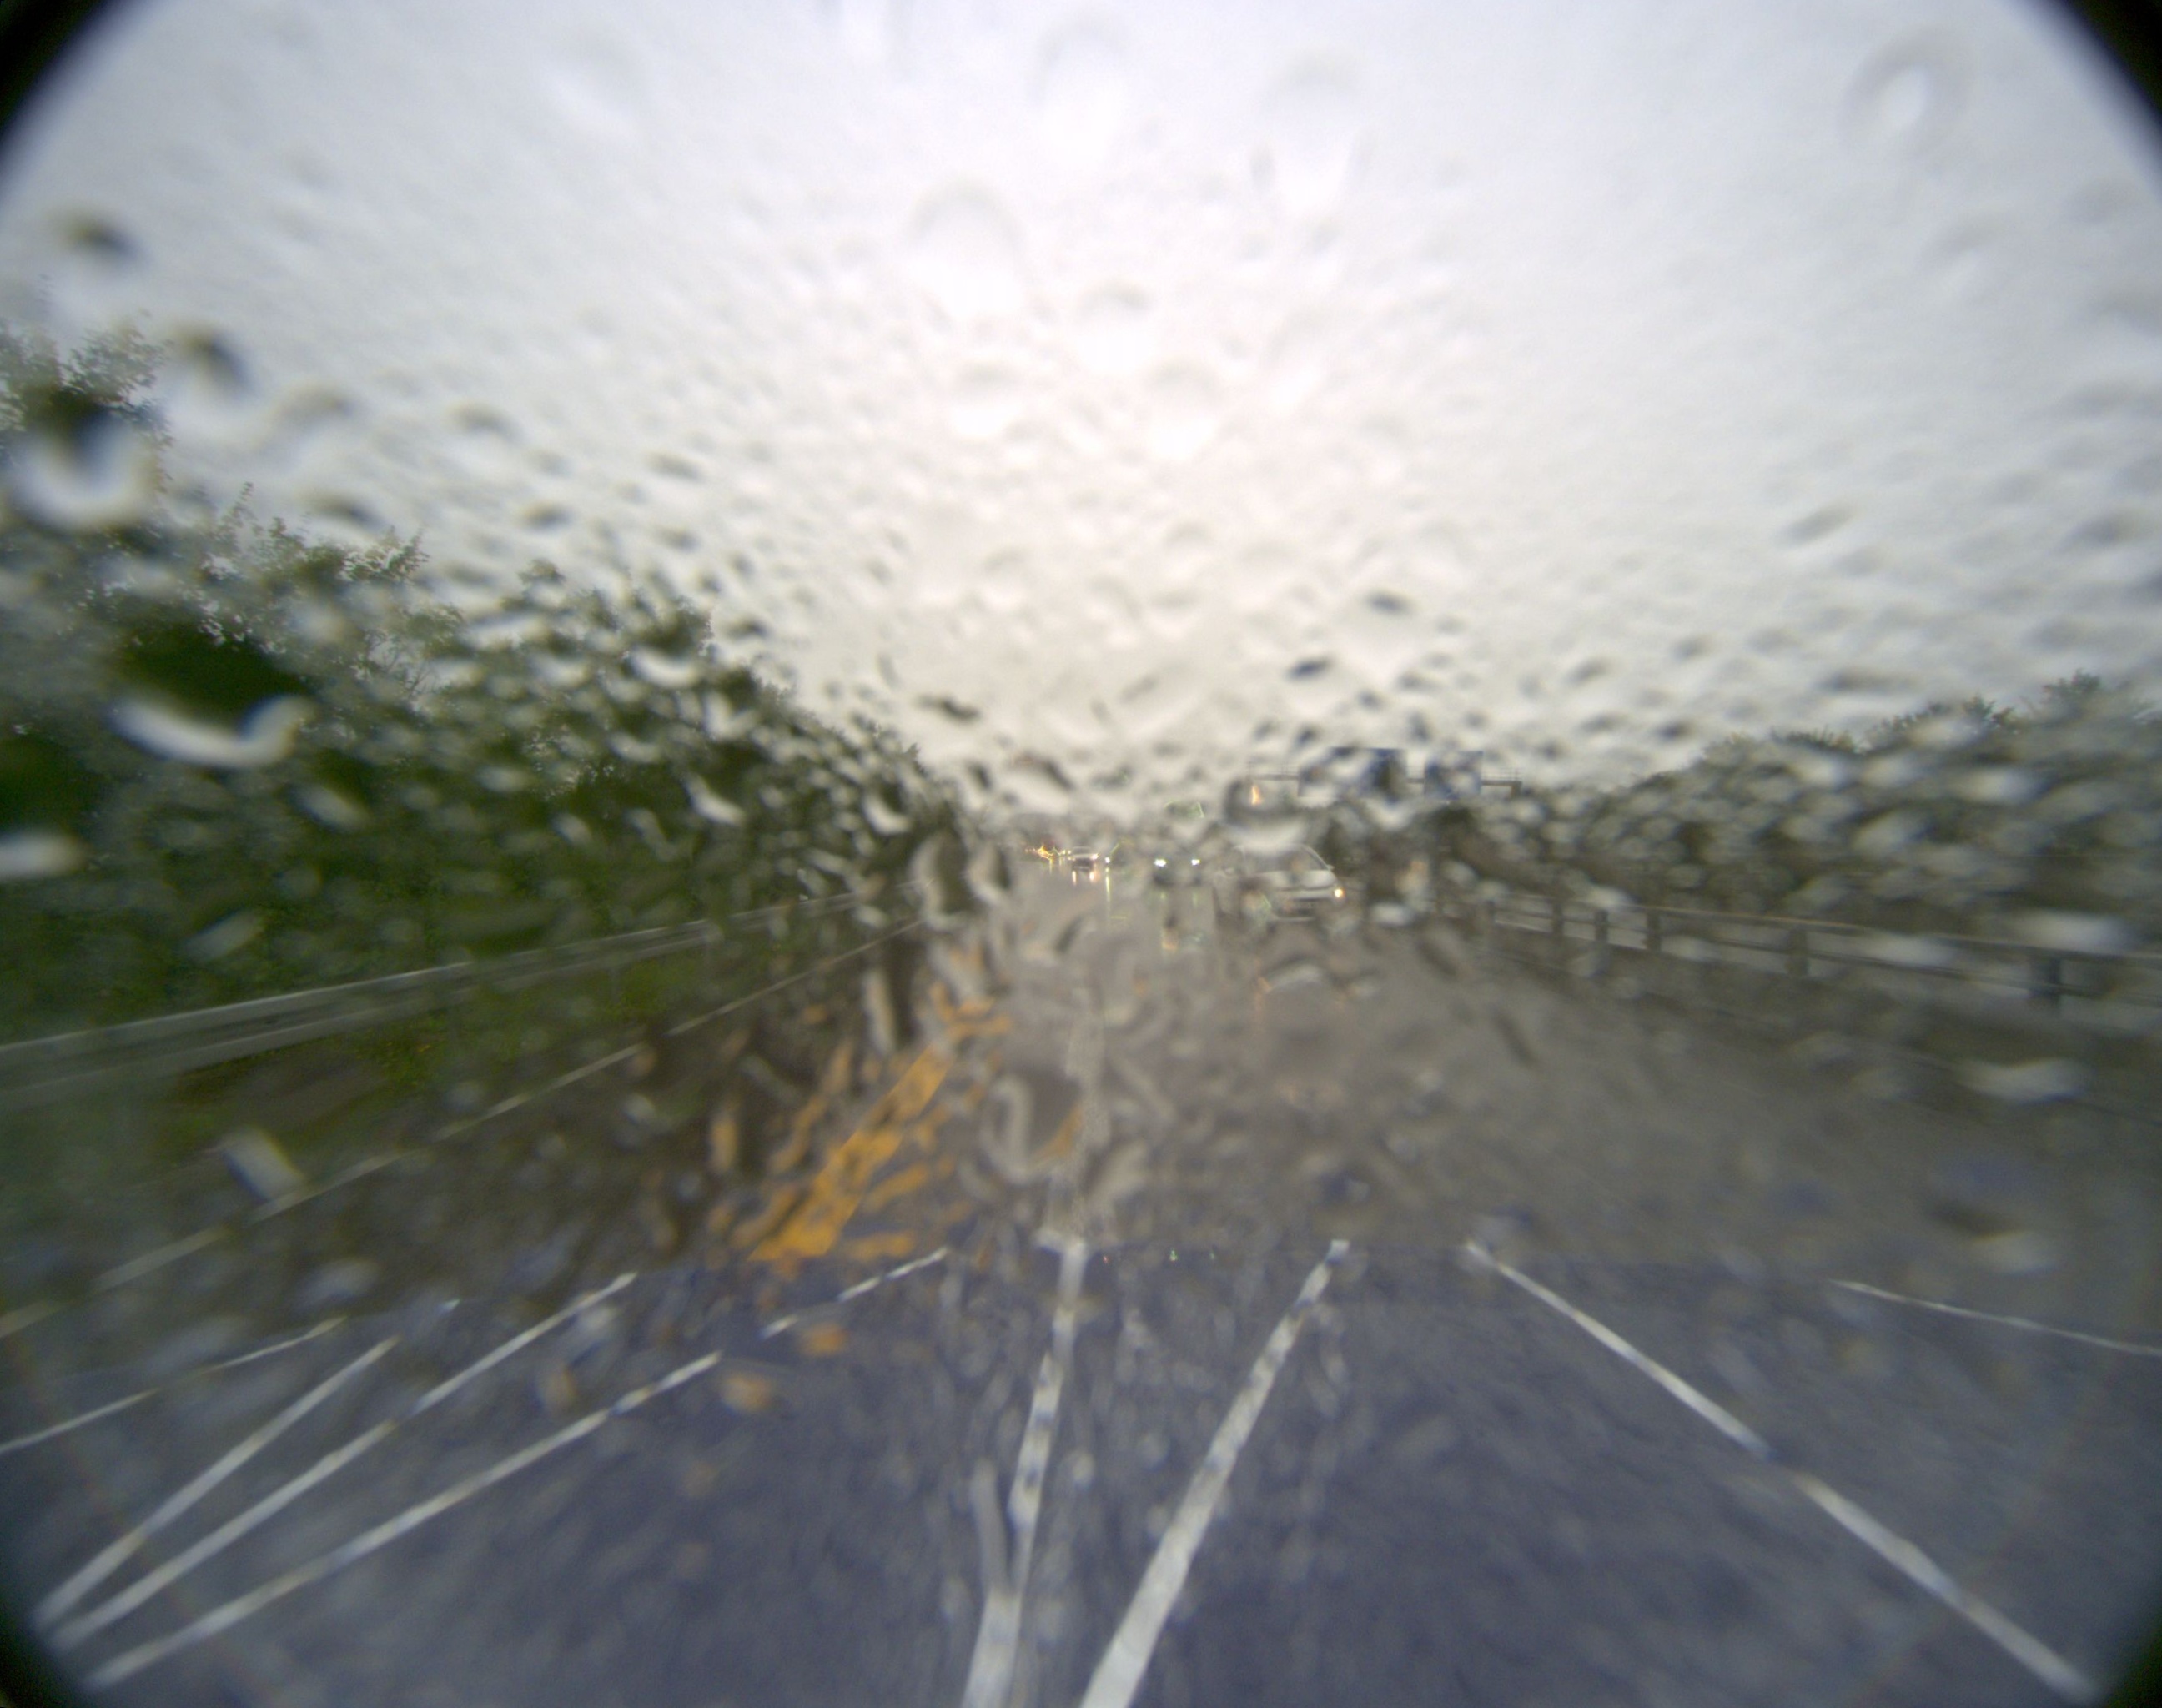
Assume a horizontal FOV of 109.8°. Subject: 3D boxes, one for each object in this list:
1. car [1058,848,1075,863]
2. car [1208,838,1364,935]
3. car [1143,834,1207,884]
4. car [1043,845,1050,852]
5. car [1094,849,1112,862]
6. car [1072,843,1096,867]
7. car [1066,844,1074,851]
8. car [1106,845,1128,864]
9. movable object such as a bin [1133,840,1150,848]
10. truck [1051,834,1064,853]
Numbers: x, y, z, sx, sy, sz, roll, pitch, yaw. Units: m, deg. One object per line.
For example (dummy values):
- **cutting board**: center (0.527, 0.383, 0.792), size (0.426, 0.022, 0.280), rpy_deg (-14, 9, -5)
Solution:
- **car**: center (-1.729, 0.162, 90.352), size (1.882, 1.657, 3.998), rpy_deg (-2, 1, -3)
- **car**: center (3.796, 0.562, 14.925), size (1.978, 1.586, 4.310), rpy_deg (-1, 0, 2)
- **car**: center (4.117, 0.152, 34.239), size (2.211, 2.002, 5.563), rpy_deg (-2, 1, 1)
- **car**: center (-9.643, -1.600, 211.095), size (1.834, 1.740, 3.998), rpy_deg (-2, 1, -3)
- **car**: center (2.850, 0.219, 98.658), size (1.845, 1.586, 3.998), rpy_deg (-2, 1, -3)
- **car**: center (0.275, 0.031, 68.146), size (1.882, 2.002, 3.998), rpy_deg (-2, 1, -2)
- **car**: center (-2.618, -1.520, 183.300), size (1.752, 1.579, 3.998), rpy_deg (-2, 1, -3)
- **car**: center (3.410, 0.044, 72.744), size (1.695, 1.740, 3.998), rpy_deg (-2, 1, -3)
- **movable object such as a bin**: center (17.231, -2.788, 216.890), size (3.449, 2.281, 5.096), rpy_deg (-2, 1, -9)
- **truck**: center (-5.223, -2.379, 168.166), size (2.484, 4.061, 8.700), rpy_deg (-2, 1, -3)
